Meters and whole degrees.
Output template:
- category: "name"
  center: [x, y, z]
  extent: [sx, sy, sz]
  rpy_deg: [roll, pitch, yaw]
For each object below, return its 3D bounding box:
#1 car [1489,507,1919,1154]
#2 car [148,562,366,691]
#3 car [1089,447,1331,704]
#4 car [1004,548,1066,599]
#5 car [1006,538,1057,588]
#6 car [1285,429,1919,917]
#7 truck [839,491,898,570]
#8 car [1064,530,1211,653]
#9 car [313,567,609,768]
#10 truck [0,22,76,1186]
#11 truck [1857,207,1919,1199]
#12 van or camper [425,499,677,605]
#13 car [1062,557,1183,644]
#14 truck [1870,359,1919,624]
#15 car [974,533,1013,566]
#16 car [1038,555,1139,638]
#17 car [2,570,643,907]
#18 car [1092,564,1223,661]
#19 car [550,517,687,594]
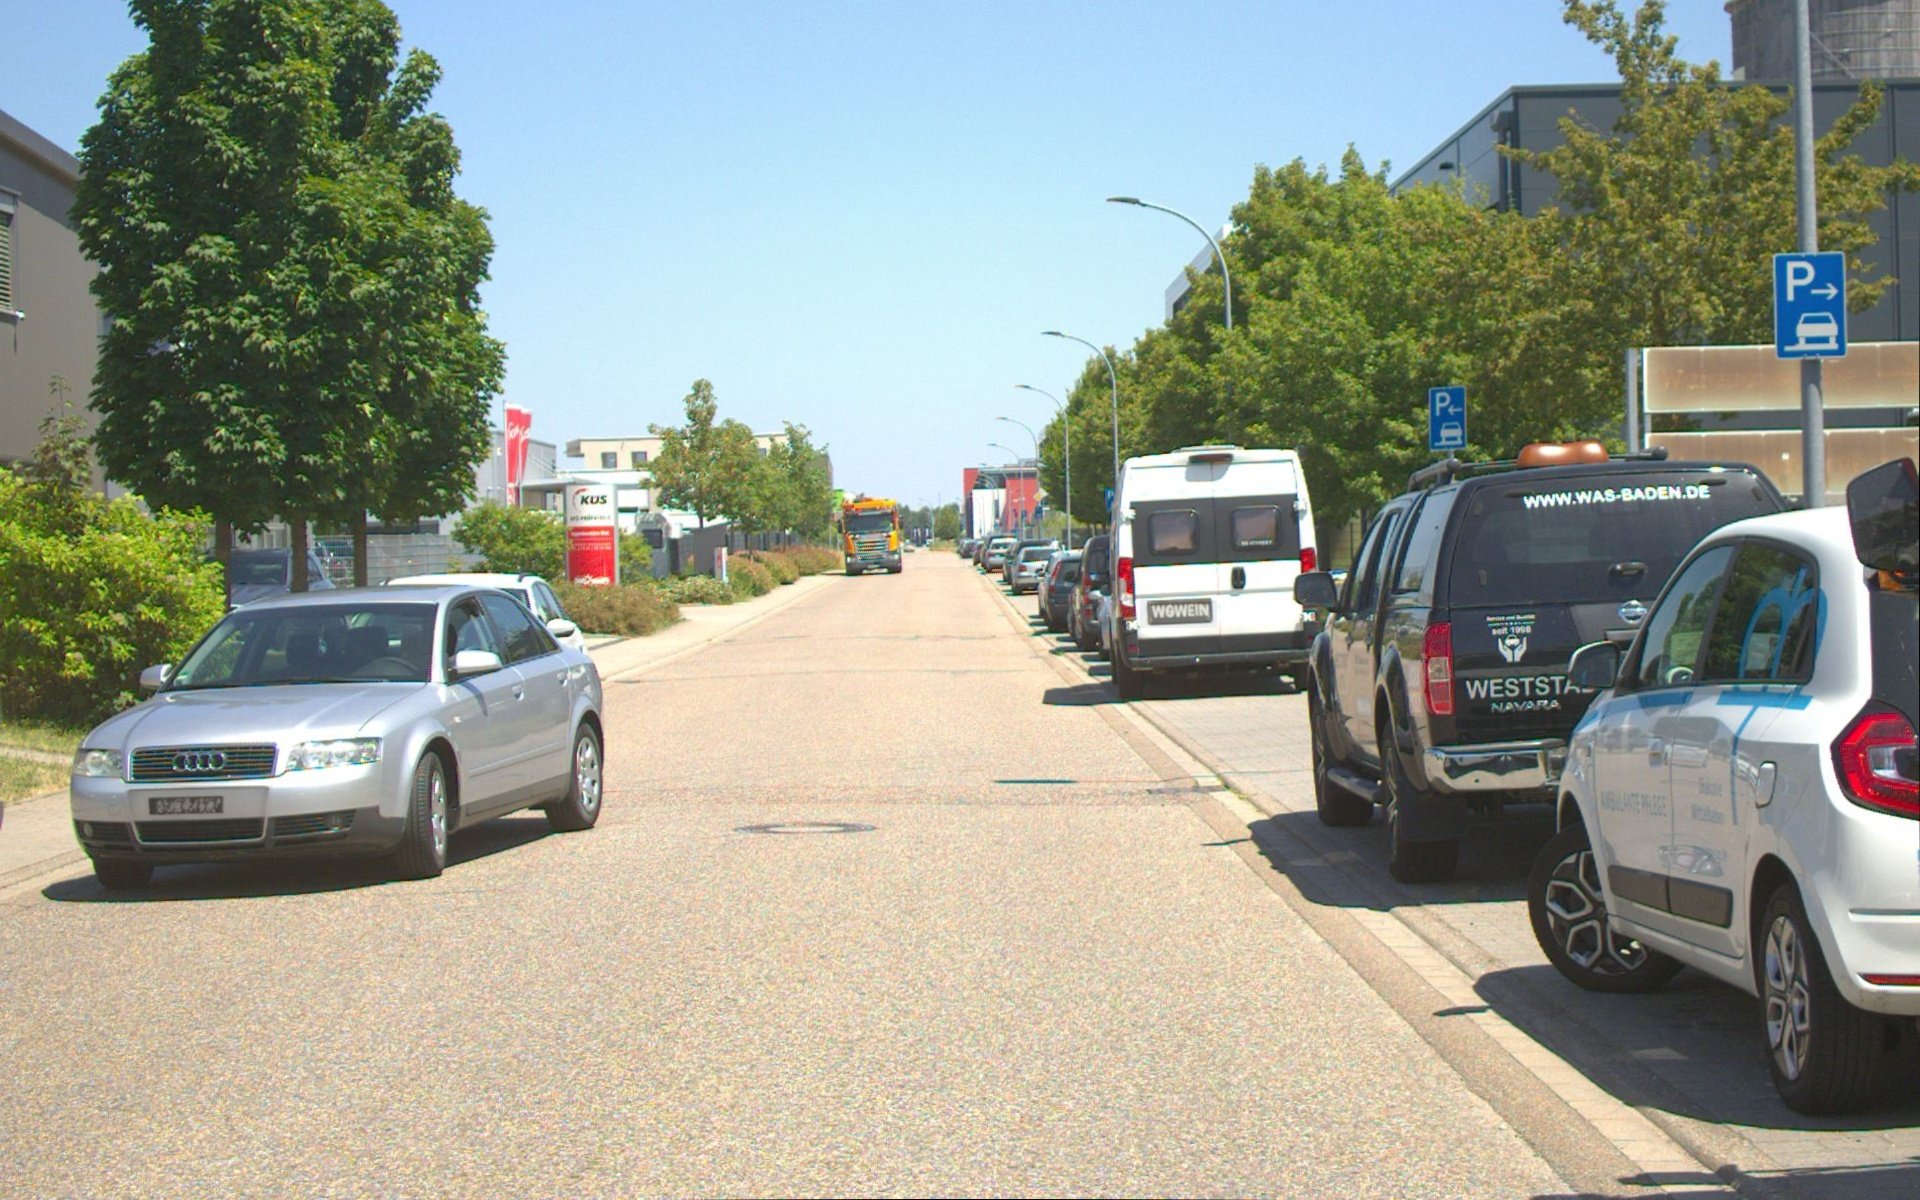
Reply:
- category: "car"
  center: [2.849, 0.491, 10.235]
  extent: [1.738, 1.525, 4.000]
  rpy_deg: [-3, 1, -2]
- category: "car"
  center: [-10.414, 0.349, 51.317]
  extent: [1.994, 1.729, 4.913]
  rpy_deg: [0, 2, 3]
- category: "car"
  center: [2.608, -0.284, 37.362]
  extent: [2.267, 2.489, 6.152]
  rpy_deg: [-2, 1, 2]
- category: "car"
  center: [2.248, -0.798, 103.475]
  extent: [1.718, 1.445, 3.646]
  rpy_deg: [-2, 1, 0]
- category: "car"
  center: [2.524, -1.324, 121.527]
  extent: [1.722, 1.688, 3.984]
  rpy_deg: [-1, 1, 1]
- category: "car"
  center: [2.828, 0.261, 16.405]
  extent: [1.993, 1.878, 5.156]
  rpy_deg: [-2, 1, 0]
- category: "truck"
  center: [-4.200, -3.230, 159.300]
  extent: [2.448, 3.501, 8.273]
  rpy_deg: [-3, 1, 0]
- category: "car"
  center: [2.761, -0.146, 54.332]
  extent: [1.993, 1.819, 4.354]
  rpy_deg: [-2, 0, -1]
- category: "car"
  center: [-3.902, 0.475, 27.558]
  extent: [1.730, 1.453, 4.492]
  rpy_deg: [-1, 1, 0]
- category: "truck"
  center: [-3.539, 0.059, 5.613]
  extent: [2.361, 2.850, 6.415]
  rpy_deg: [-3, 1, 0]
- category: "truck"
  center: [2.932, 0.233, 5.520]
  extent: [1.679, 2.174, 4.390]
  rpy_deg: [-3, 1, -1]
- category: "van or camper"
  center: [-12.499, -1.489, 105.518]
  extent: [7.384, 3.027, 2.790]
  rpy_deg: [-1, 1, -1]
- category: "car"
  center: [2.834, -0.003, 60.832]
  extent: [1.850, 1.426, 4.712]
  rpy_deg: [-2, 0, 0]
- category: "truck"
  center: [18.684, -1.739, 50.204]
  extent: [9.975, 3.809, 3.038]
  rpy_deg: [-2, 1, -10]
- category: "car"
  center: [1.456, -2.219, 150.675]
  extent: [1.585, 1.405, 3.500]
  rpy_deg: [-1, 1, 0]
- category: "car"
  center: [2.529, -0.086, 66.660]
  extent: [1.709, 1.499, 4.705]
  rpy_deg: [-2, 0, 5]
- category: "car"
  center: [-3.150, 0.626, 17.989]
  extent: [1.784, 1.417, 4.412]
  rpy_deg: [-3, 1, 10]
- category: "car"
  center: [2.790, 0.167, 49.287]
  extent: [1.711, 1.283, 4.115]
  rpy_deg: [-2, 0, 2]
- category: "car"
  center: [-12.077, -1.587, 121.849]
  extent: [4.714, 2.577, 2.000]
  rpy_deg: [-2, 1, -4]
